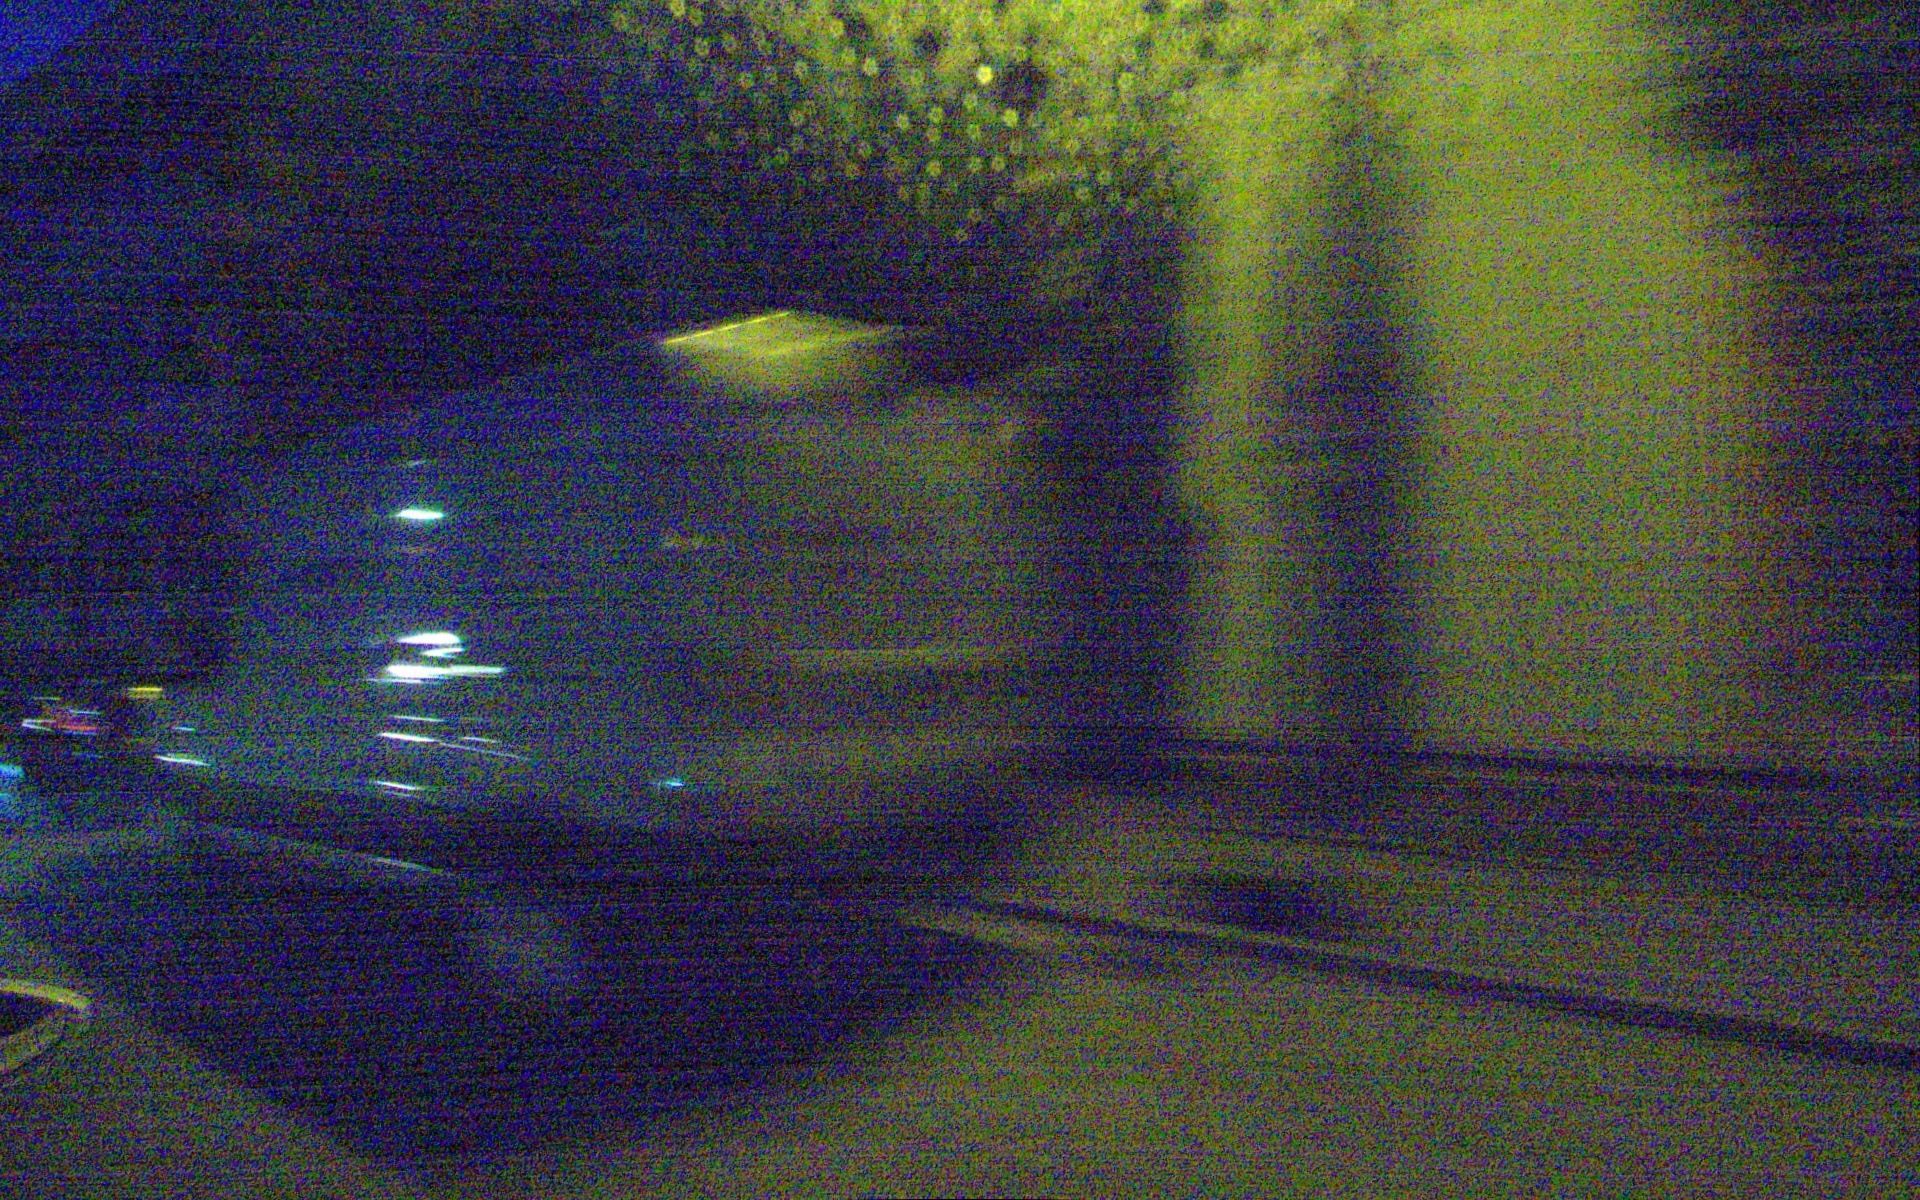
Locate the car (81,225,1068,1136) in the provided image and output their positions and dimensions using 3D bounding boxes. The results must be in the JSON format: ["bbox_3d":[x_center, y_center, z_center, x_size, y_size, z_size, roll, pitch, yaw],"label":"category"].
[{"bbox_3d":[-2.469,0.308,5.335,5.831,2.557,1.989,-1,-3,36],"label":"car"}]

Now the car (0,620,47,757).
[{"bbox_3d":[-13.047,1.015,11.968,4.939,1.509,1.942,-1,0,33],"label":"car"}]

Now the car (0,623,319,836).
[{"bbox_3d":[-7.660,0.929,8.829,4.487,1.431,1.765,-1,0,34],"label":"car"}]
